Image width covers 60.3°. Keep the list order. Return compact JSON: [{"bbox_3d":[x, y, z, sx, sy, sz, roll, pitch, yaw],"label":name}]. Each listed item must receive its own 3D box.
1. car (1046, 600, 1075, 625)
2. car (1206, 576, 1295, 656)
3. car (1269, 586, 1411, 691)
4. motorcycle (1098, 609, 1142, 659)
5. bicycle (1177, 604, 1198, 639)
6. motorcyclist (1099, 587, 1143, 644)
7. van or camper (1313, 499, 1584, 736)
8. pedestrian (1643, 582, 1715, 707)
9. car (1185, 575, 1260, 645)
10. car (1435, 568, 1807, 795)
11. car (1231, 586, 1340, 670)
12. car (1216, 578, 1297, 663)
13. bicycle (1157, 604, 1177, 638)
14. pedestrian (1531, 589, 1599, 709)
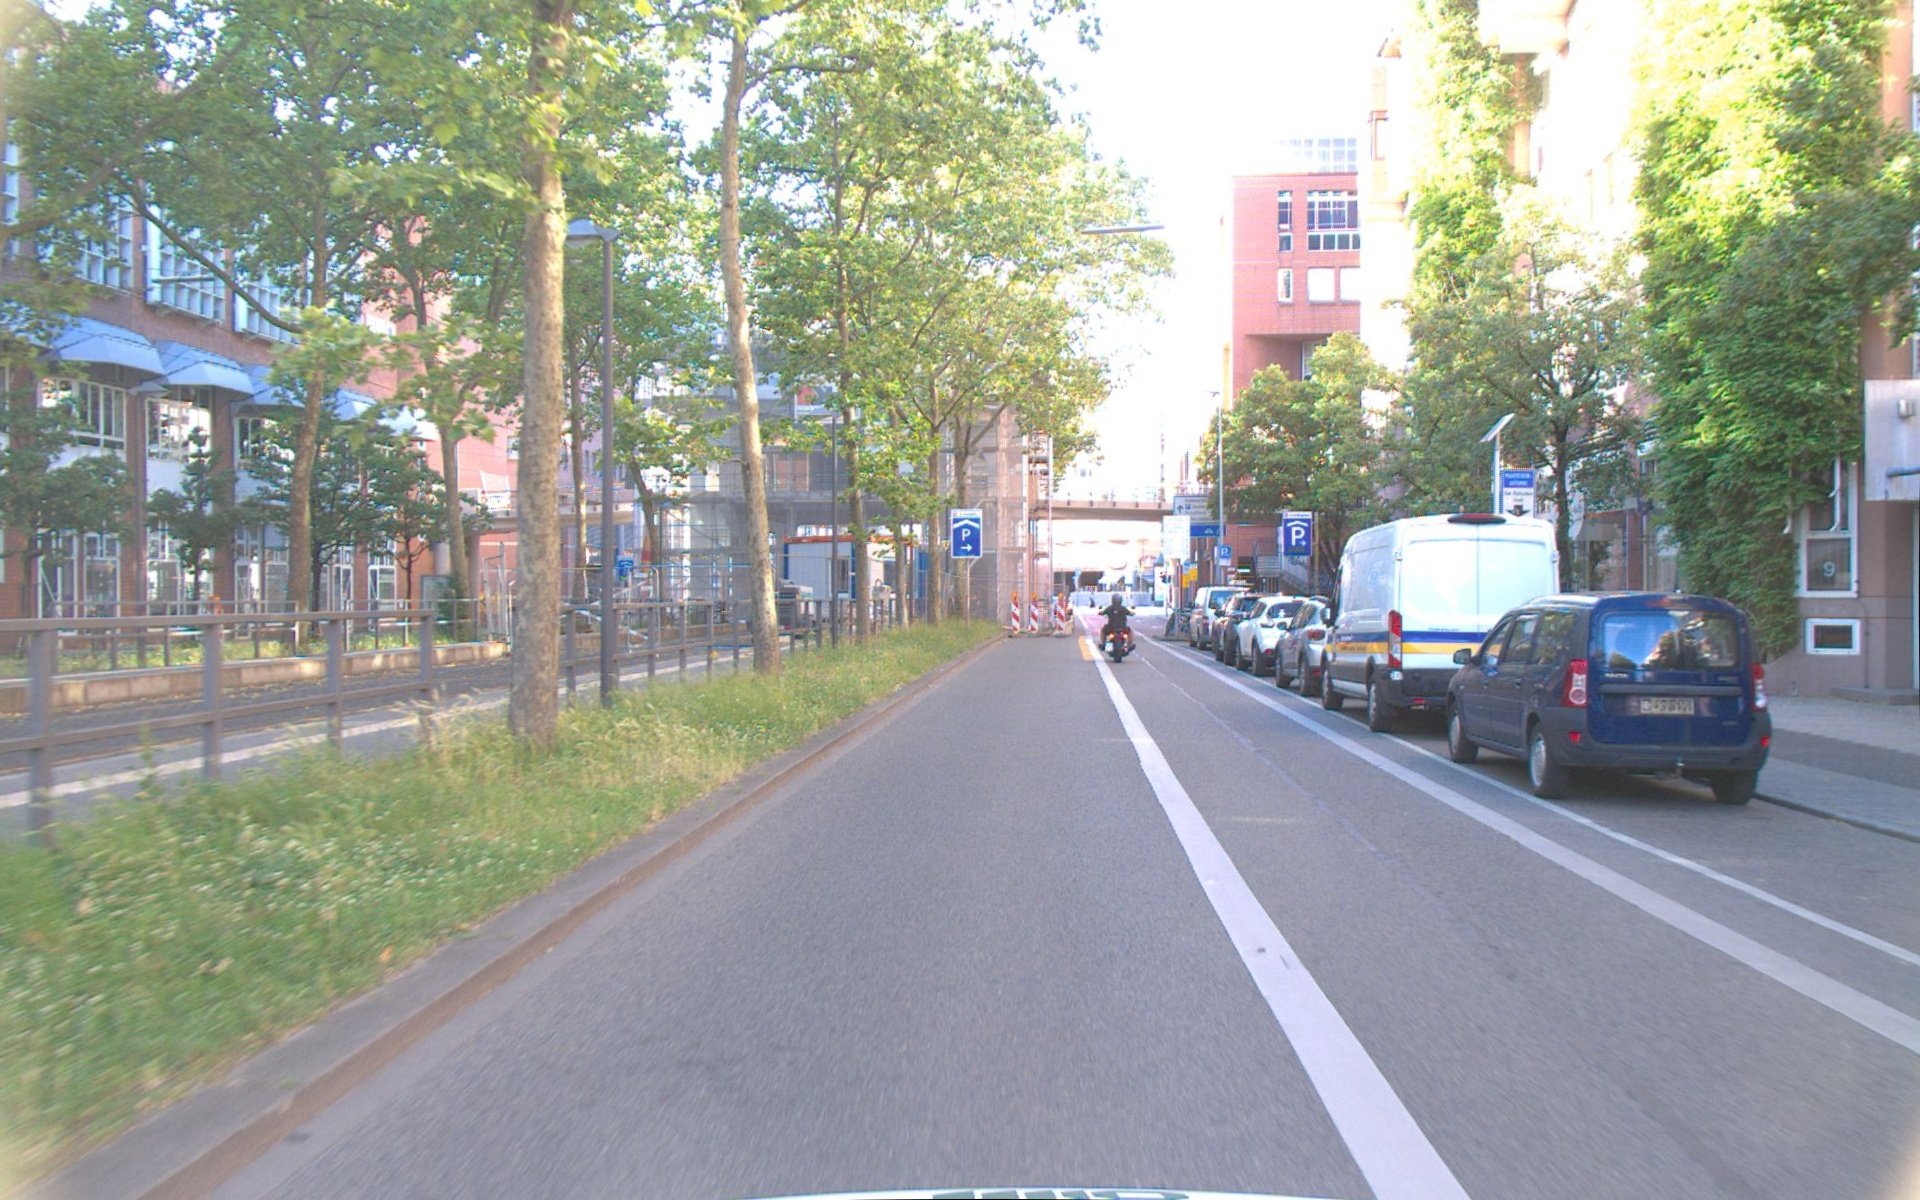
[{"bbox_3d":[7.105,0.881,117.596,1.814,1.747,4.000,0,0,0],"label":"car"},{"bbox_3d":[7.829,0.408,44.897,1.797,2.049,4.389,0,0,2],"label":"car"},{"bbox_3d":[6.275,0.601,27.658,1.587,1.631,3.775,0,0,1],"label":"car"},{"bbox_3d":[3.776,0.784,38.942,0.996,1.116,2.009,0,0,6],"label":"motorcycle"},{"bbox_3d":[8.578,0.796,62.445,0.650,1.256,2.229,0,0,4],"label":"bicycle"},{"bbox_3d":[3.800,0.358,39.086,0.990,1.285,0.774,2,0,5],"label":"motorcyclist"},{"bbox_3d":[5.948,0.182,20.961,2.006,2.585,5.775,0,0,3],"label":"van or camper"},{"bbox_3d":[8.734,0.530,20.114,0.749,1.471,0.780,0,-1,20],"label":"pedestrian"},{"bbox_3d":[8.023,0.284,50.899,1.797,2.049,4.389,0,0,2],"label":"car"},{"bbox_3d":[5.447,0.589,14.260,1.586,1.647,4.487,0,0,3],"label":"car"},{"bbox_3d":[6.676,0.545,34.223,1.587,1.638,3.775,0,0,1],"label":"car"},{"bbox_3d":[6.916,0.454,38.841,1.586,1.898,3.777,0,0,6],"label":"car"},{"bbox_3d":[7.812,0.788,62.524,0.650,1.256,2.229,0,0,4],"label":"bicycle"},{"bbox_3d":[8.597,0.685,23.517,0.747,1.673,0.547,0,0,-4],"label":"pedestrian"}]
